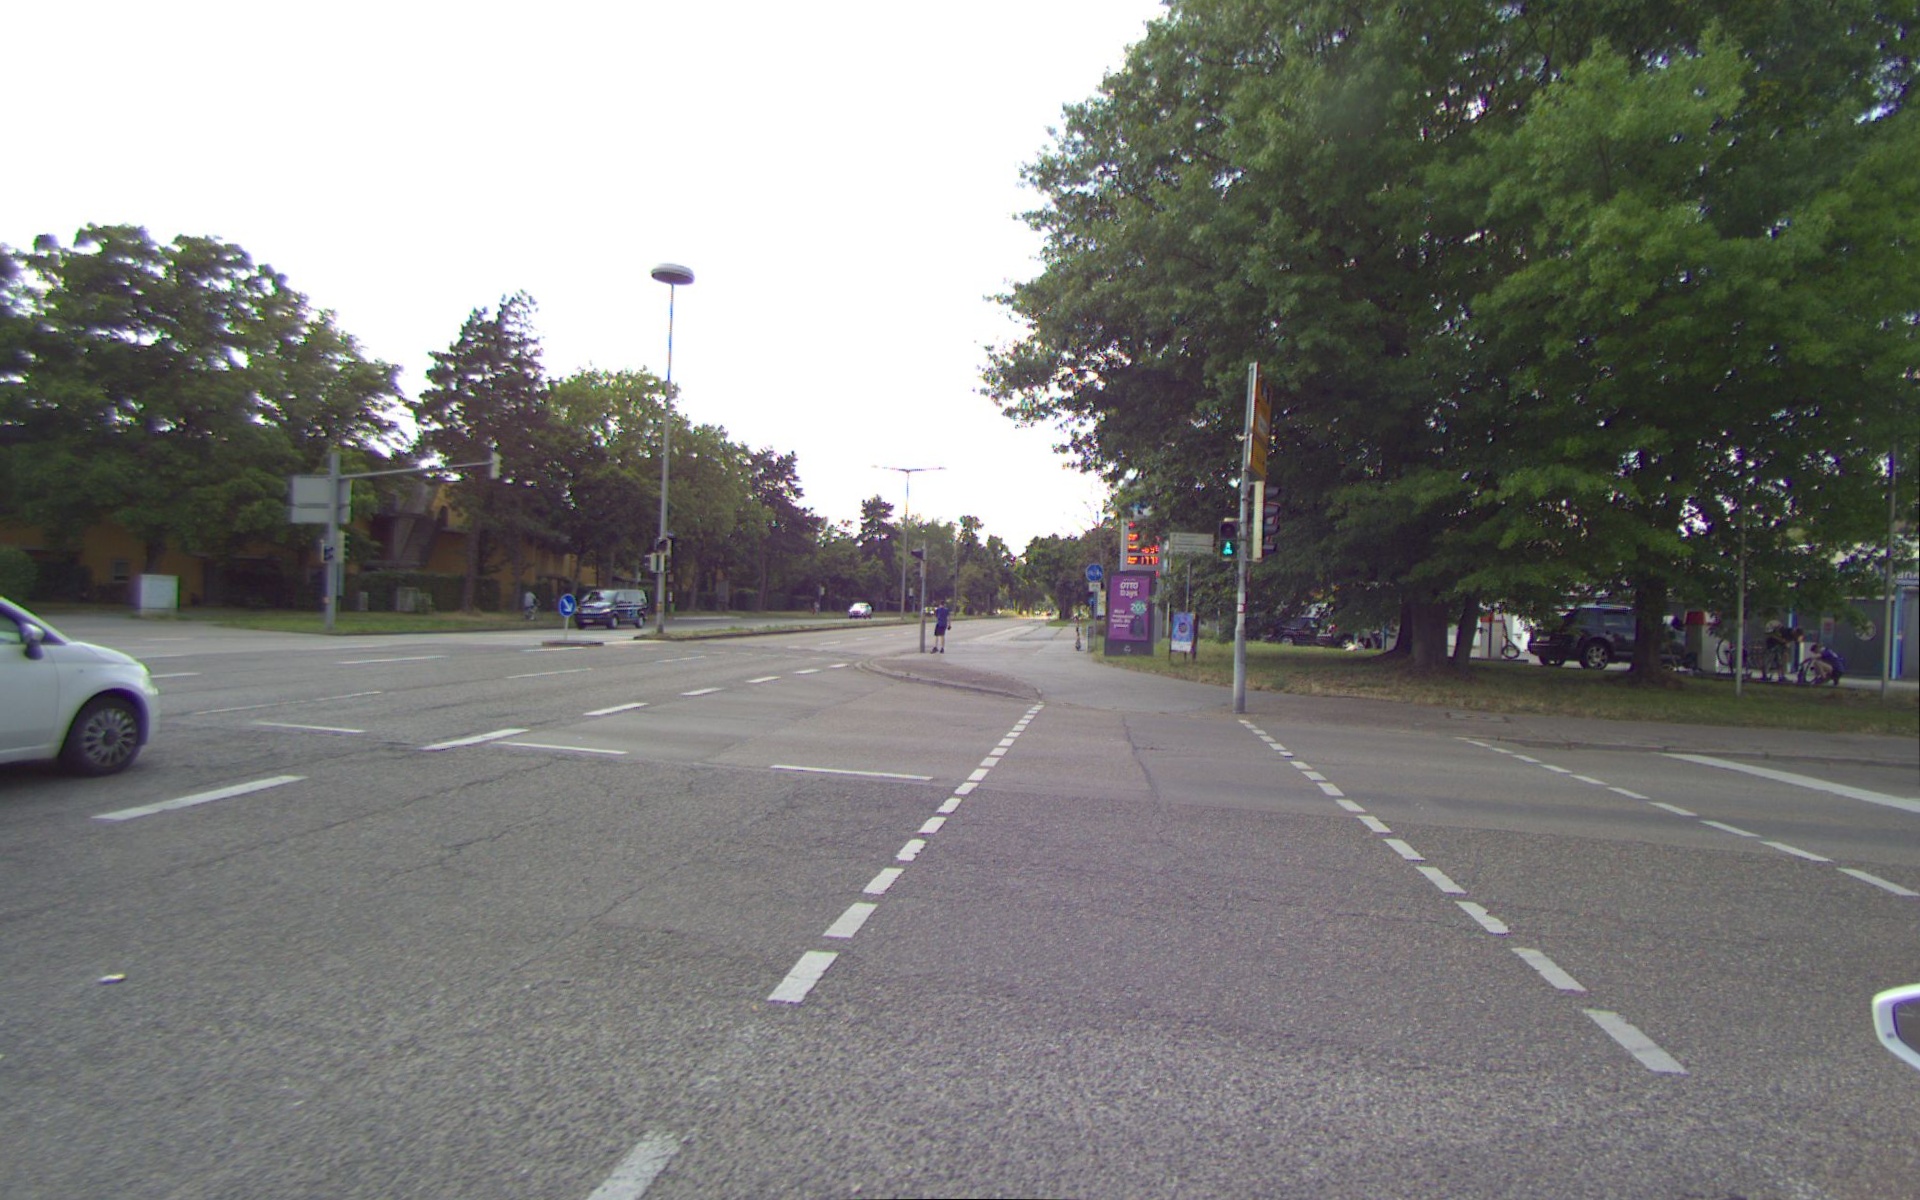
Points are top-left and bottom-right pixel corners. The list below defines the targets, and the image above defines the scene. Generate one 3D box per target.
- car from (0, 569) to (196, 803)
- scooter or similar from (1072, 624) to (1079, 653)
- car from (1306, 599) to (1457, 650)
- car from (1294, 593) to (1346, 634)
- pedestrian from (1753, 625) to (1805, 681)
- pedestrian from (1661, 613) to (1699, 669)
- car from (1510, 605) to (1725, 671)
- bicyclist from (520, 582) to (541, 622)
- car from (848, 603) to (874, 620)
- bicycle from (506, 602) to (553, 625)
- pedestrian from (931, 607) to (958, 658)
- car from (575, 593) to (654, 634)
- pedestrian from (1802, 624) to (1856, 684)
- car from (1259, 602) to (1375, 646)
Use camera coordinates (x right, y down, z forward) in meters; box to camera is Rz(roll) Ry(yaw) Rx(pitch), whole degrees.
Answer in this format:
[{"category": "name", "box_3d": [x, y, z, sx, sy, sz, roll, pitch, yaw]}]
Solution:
[{"category": "car", "box_3d": [-7.026, 0.533, 6.275, 1.543, 1.517, 3.542, 2, -1, 6]}, {"category": "scooter or similar", "box_3d": [4.048, 1.333, 35.068, 0.217, 0.992, 1.273, 1, -1, 7]}, {"category": "car", "box_3d": [16.656, 0.968, 39.852, 5.098, 1.851, 2.153, 2, -1, -4]}, {"category": "car", "box_3d": [23.306, 0.864, 65.268, 1.720, 2.486, 5.753, 1, -1, 5]}, {"category": "pedestrian", "box_3d": [18.793, 1.213, 23.058, 0.639, 1.205, 0.758, 4, -1, -37]}, {"category": "pedestrian", "box_3d": [20.270, 1.147, 28.269, 0.551, 1.514, 0.620, 4, -1, 0]}, {"category": "car", "box_3d": [17.780, 1.009, 27.308, 4.476, 1.617, 2.153, 2, -1, -4]}, {"category": "bicyclist", "box_3d": [-22.331, 0.118, 52.246, 0.824, 2.040, 0.745, 2, 0, -37]}, {"category": "car", "box_3d": [-10.659, 1.267, 108.497, 1.828, 1.728, 4.458, 1, -1, 7]}, {"category": "bicycle", "box_3d": [-22.382, 0.687, 52.214, 2.095, 1.134, 0.749, 2, -1, -38]}, {"category": "pedestrian", "box_3d": [-0.501, 1.013, 31.569, 0.714, 1.552, 0.758, 1, 0, -9]}, {"category": "car", "box_3d": [-17.025, 0.664, 49.713, 1.735, 1.882, 4.819, 1, 0, 7]}, {"category": "pedestrian", "box_3d": [19.326, 1.191, 22.348, 0.639, 1.272, 0.758, 4, -1, -37]}, {"category": "car", "box_3d": [17.977, 1.183, 50.716, 5.093, 2.030, 2.155, 1, -1, 3]}]
